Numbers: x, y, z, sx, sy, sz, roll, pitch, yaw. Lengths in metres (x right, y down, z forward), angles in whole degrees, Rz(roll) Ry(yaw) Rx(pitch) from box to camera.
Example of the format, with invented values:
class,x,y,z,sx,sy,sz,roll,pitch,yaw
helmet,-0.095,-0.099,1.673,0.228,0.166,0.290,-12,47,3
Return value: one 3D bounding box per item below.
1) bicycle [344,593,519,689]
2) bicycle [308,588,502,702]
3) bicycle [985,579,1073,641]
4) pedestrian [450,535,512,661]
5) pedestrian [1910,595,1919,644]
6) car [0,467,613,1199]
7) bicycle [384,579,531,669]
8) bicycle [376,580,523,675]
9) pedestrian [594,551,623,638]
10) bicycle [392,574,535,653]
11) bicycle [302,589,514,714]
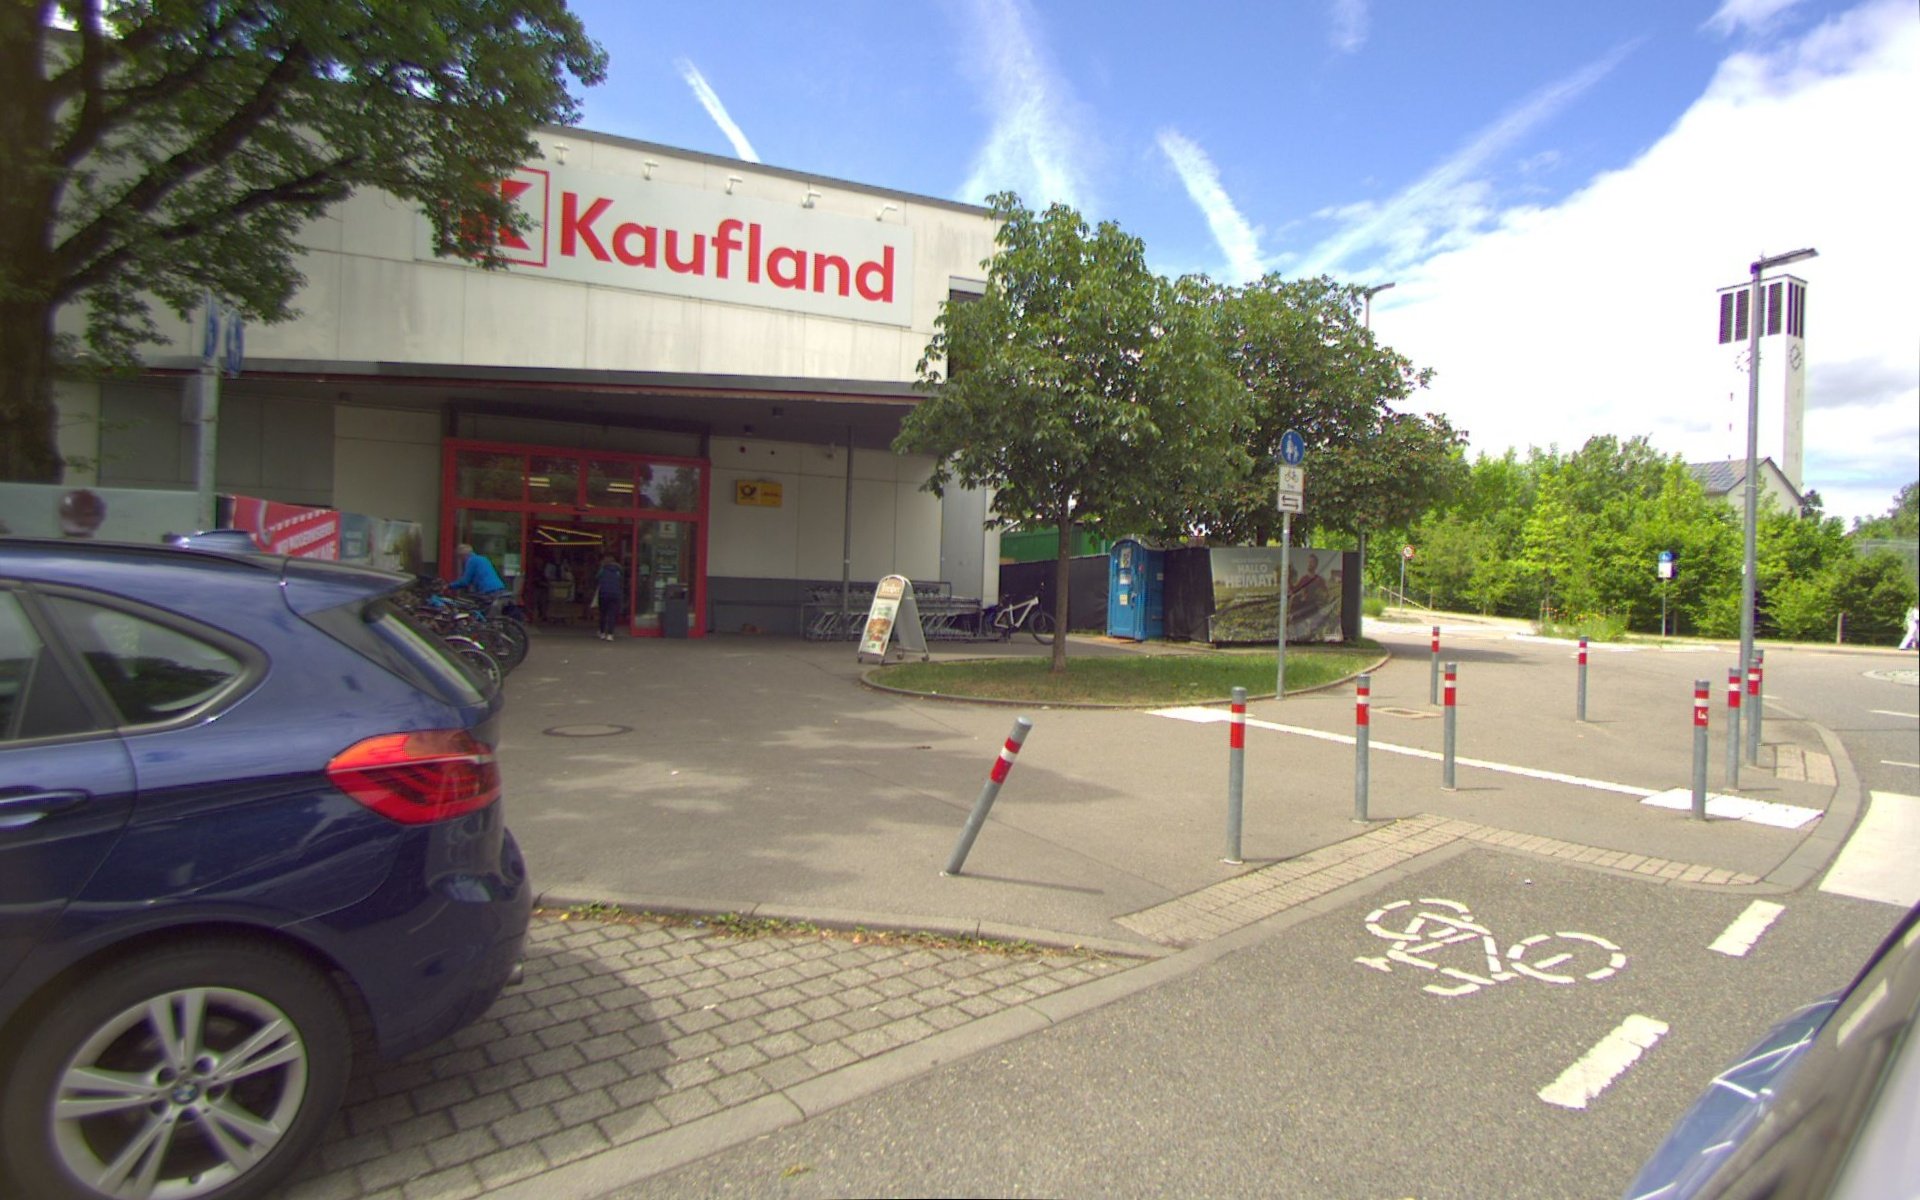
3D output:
class,x,y,z,sx,sy,sz,roll,pitch,yaw
bicycle,-6.140,0.457,11.835,1.764,1.053,0.522,1,1,-27
bicycle,-5.854,0.472,10.737,1.737,1.170,0.502,1,0,-6
bicycle,1.446,0.196,21.323,1.762,1.249,0.706,1,0,36
pedestrian,-6.914,-0.038,14.629,0.732,1.778,0.626,1,3,-18
pedestrian,31.209,0.641,32.568,0.943,1.553,0.459,2,0,-14
car,-3.283,0.482,2.376,4.342,1.597,1.925,0,2,-32
bicycle,-6.717,0.313,13.612,1.730,1.170,0.441,1,0,-22
bicycle,-6.508,0.342,12.964,1.626,1.170,0.427,1,0,-20
pedestrian,-6.563,-0.103,18.919,0.485,1.586,0.628,1,0,-19
bicycle,-7.497,0.204,15.352,1.873,1.170,0.531,1,0,-17
bicycle,-5.352,0.491,9.881,1.754,1.170,0.452,1,0,-10
